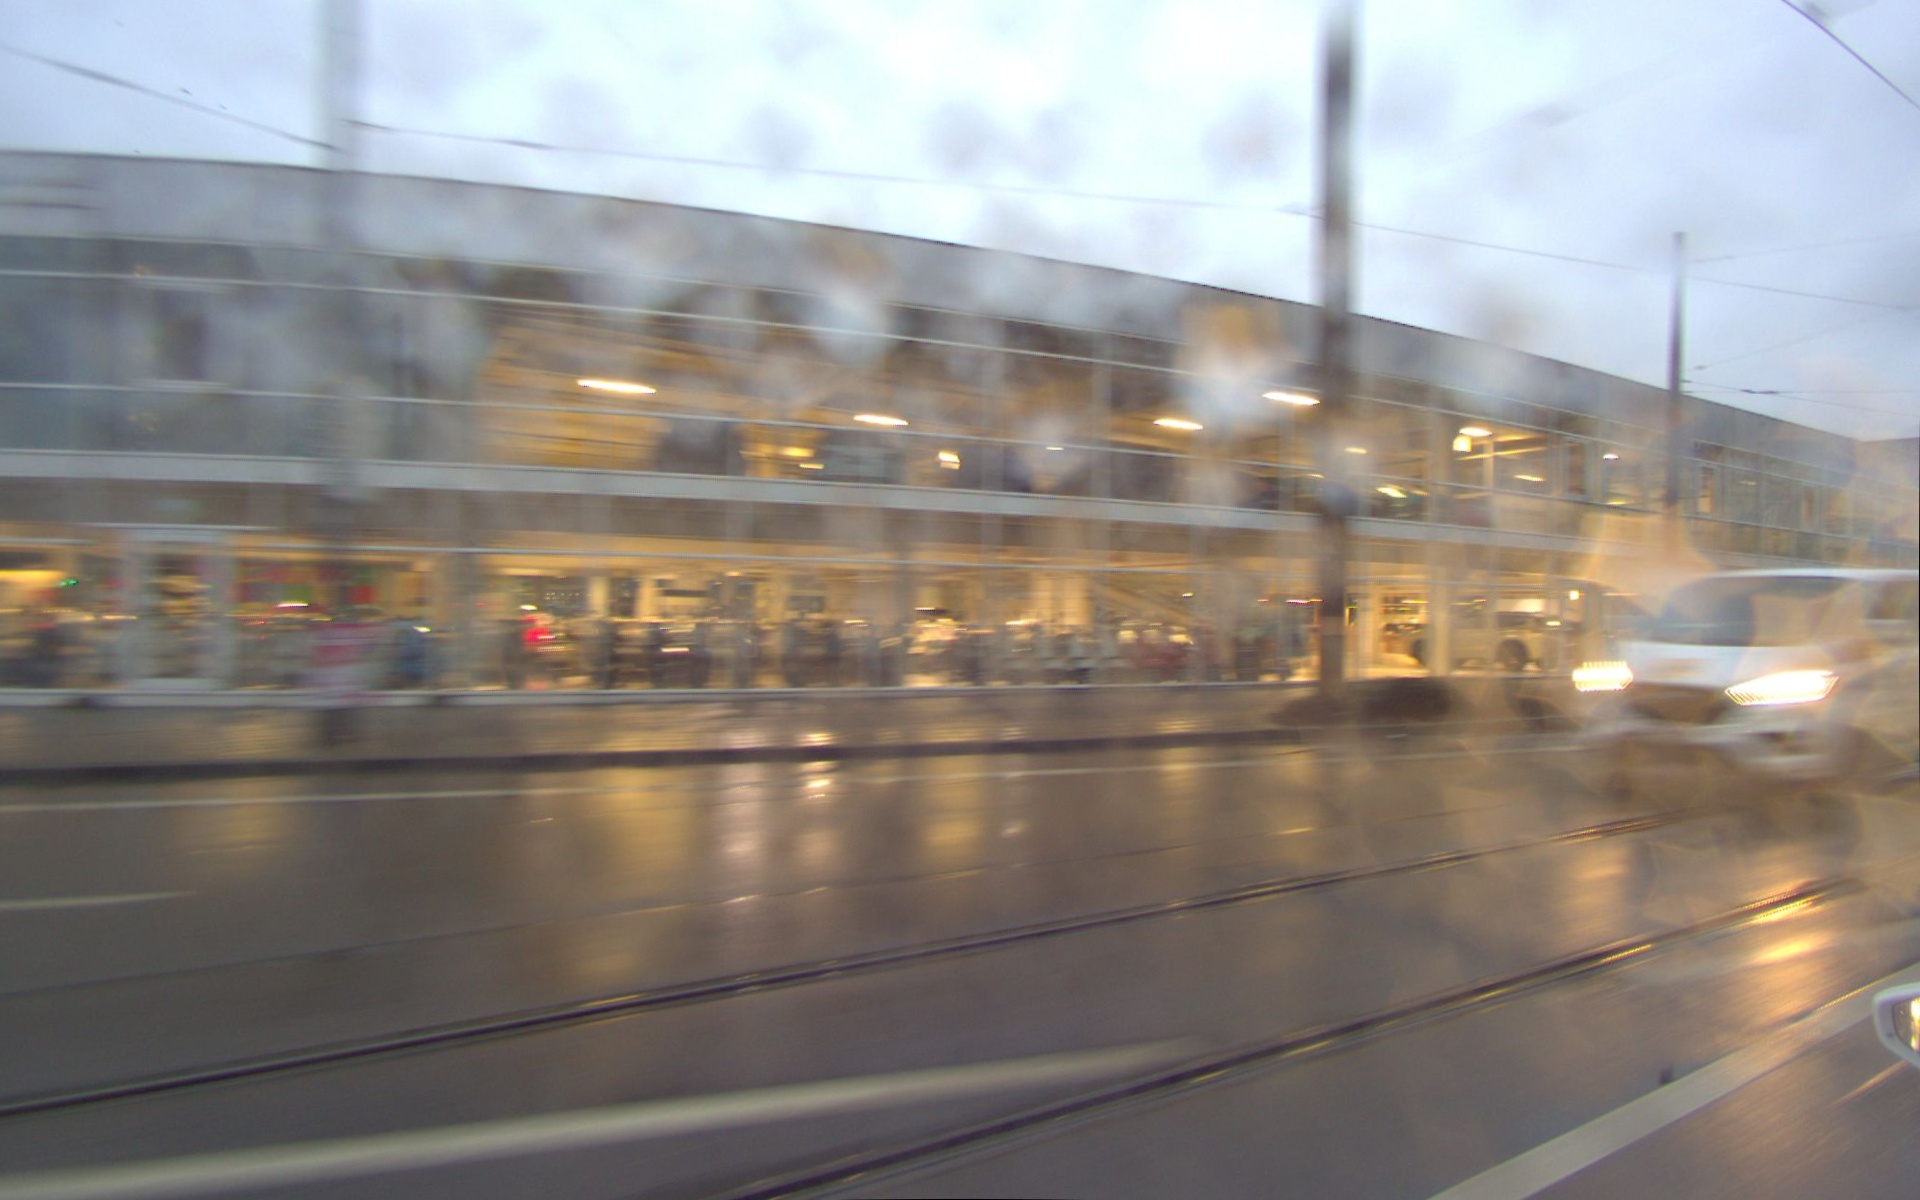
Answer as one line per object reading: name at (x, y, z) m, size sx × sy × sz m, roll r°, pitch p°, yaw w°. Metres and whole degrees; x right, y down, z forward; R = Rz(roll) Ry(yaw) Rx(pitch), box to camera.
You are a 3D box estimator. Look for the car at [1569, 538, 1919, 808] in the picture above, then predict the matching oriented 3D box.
car at (8.168, 0.609, 9.633) m, size 4.629 × 2.040 × 1.984 m, roll 2°, pitch 0°, yaw -30°
